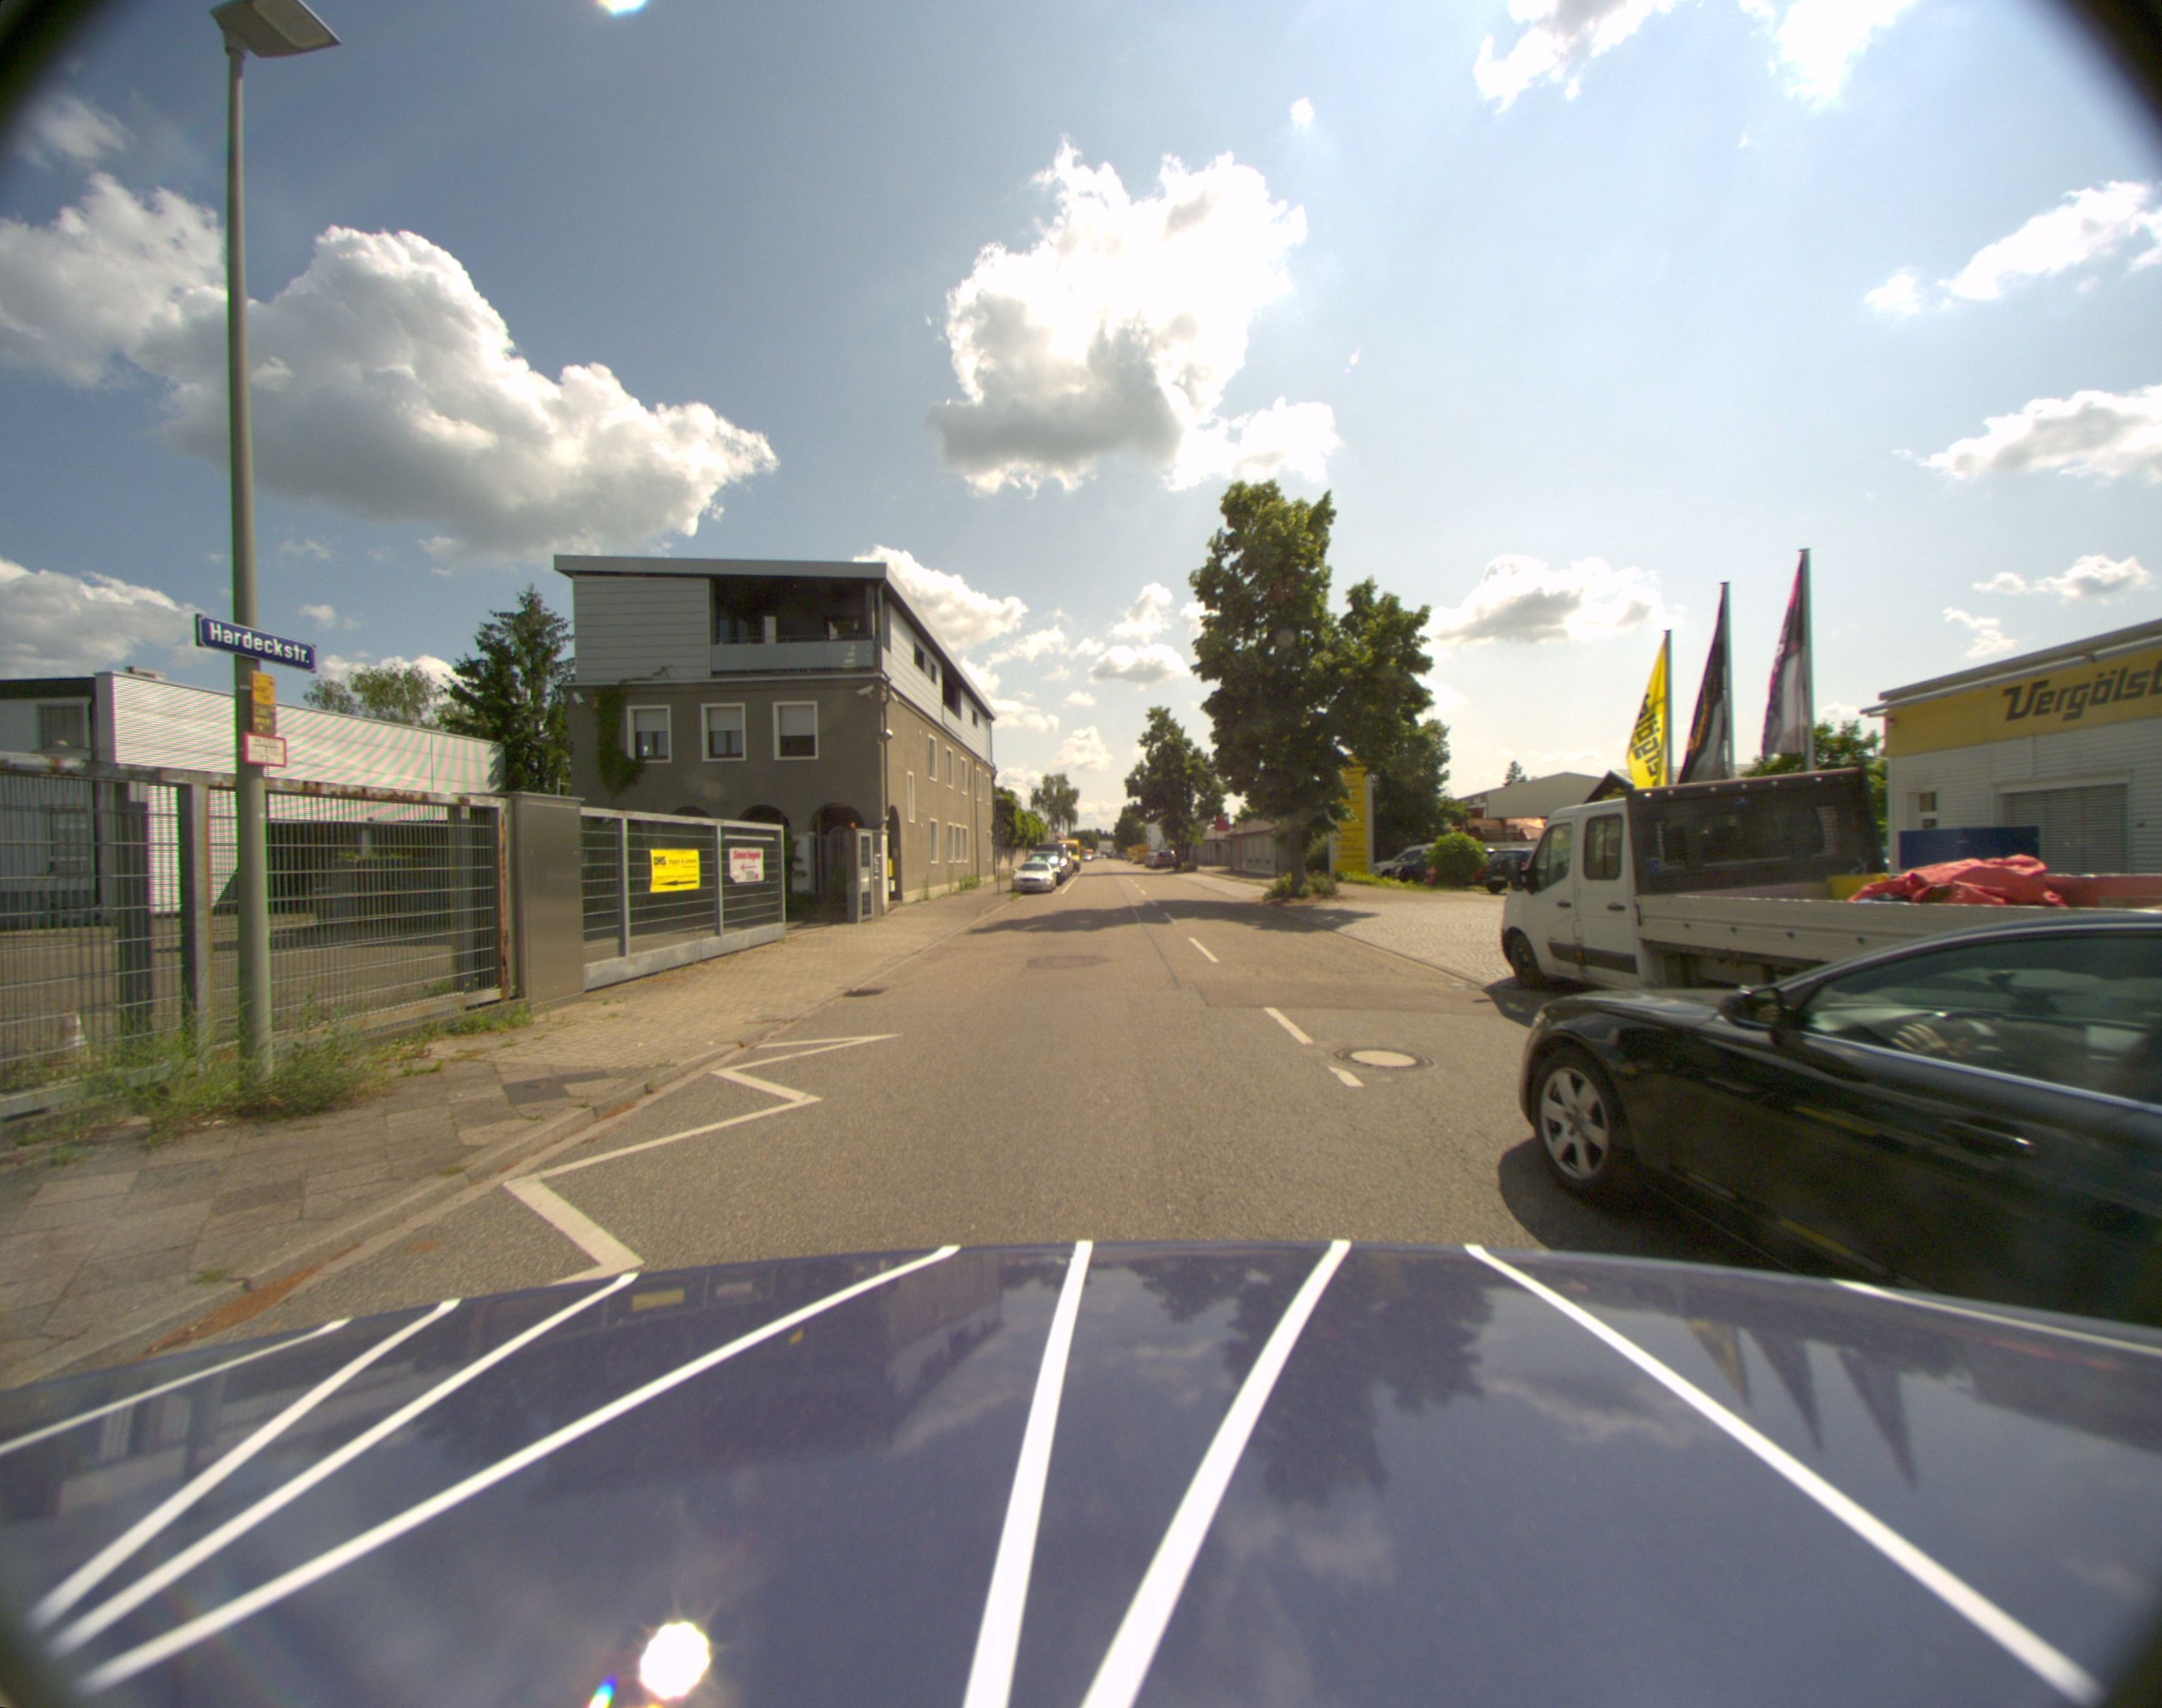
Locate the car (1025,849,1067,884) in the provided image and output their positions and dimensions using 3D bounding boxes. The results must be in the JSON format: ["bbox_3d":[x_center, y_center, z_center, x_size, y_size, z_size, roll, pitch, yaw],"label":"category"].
[{"bbox_3d":[-1.797,0.612,39.868,1.999,1.678,3.999,-1,1,0],"label":"car"}]

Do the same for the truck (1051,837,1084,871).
[{"bbox_3d":[-1.138,0.007,66.654,2.402,2.788,6.375,-1,1,3],"label":"truck"}]

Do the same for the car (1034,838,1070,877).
[{"bbox_3d":[-1.737,0.200,46.719,1.999,2.289,4.413,-1,0,0],"label":"car"}]

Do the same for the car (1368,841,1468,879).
[{"bbox_3d":[16.184,0.284,36.645,4.092,1.703,1.680,-1,1,10],"label":"car"}]

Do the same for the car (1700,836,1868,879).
[{"bbox_3d":[25.917,0.123,28.183,4.275,1.474,1.672,-1,2,15],"label":"car"}]

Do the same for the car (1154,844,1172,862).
[{"bbox_3d":[8.332,-0.137,76.721,1.654,1.686,3.314,-1,1,8],"label":"car"}]

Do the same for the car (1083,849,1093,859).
[{"bbox_3d":[1.471,-0.025,158.990,1.998,2.002,4.000,-1,1,3],"label":"car"}]

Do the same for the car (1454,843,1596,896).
[{"bbox_3d":[14.031,0.443,24.038,3.847,1.406,1.856,-3,1,-21],"label":"car"}]

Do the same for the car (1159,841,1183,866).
[{"bbox_3d":[8.586,-0.050,72.273,1.997,2.290,4.003,-1,1,11],"label":"car"}]

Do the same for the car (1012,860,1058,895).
[{"bbox_3d":[-1.927,0.970,33.005,1.657,1.324,4.000,-1,0,1],"label":"car"}]

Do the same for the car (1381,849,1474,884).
[{"bbox_3d":[15.270,0.567,33.577,3.550,1.375,1.237,-2,1,15],"label":"car"}]

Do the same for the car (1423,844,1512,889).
[{"bbox_3d":[14.428,0.452,28.478,2.778,1.535,1.593,-2,1,20],"label":"car"}]

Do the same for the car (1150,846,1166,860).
[{"bbox_3d":[8.459,-0.130,83.333,1.654,1.432,3.314,-1,1,8],"label":"car"}]

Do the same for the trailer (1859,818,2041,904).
[{"bbox_3d":[18.810,0.105,16.614,1.268,1.682,2.972,-2,1,18],"label":"trailer"}]

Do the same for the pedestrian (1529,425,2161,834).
[{"bbox_3d":[5.607,-1.217,5.882,1.998,2.002,4.000,-2,1,3],"label":"pedestrian"}]

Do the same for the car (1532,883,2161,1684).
[{"bbox_3d":[2.969,0.893,1.309,1.789,1.430,4.309,2,1,0],"label":"car"}]

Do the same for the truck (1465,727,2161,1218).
[{"bbox_3d":[6.146,0.447,6.703,2.133,2.226,7.350,-4,0,4],"label":"truck"}]
